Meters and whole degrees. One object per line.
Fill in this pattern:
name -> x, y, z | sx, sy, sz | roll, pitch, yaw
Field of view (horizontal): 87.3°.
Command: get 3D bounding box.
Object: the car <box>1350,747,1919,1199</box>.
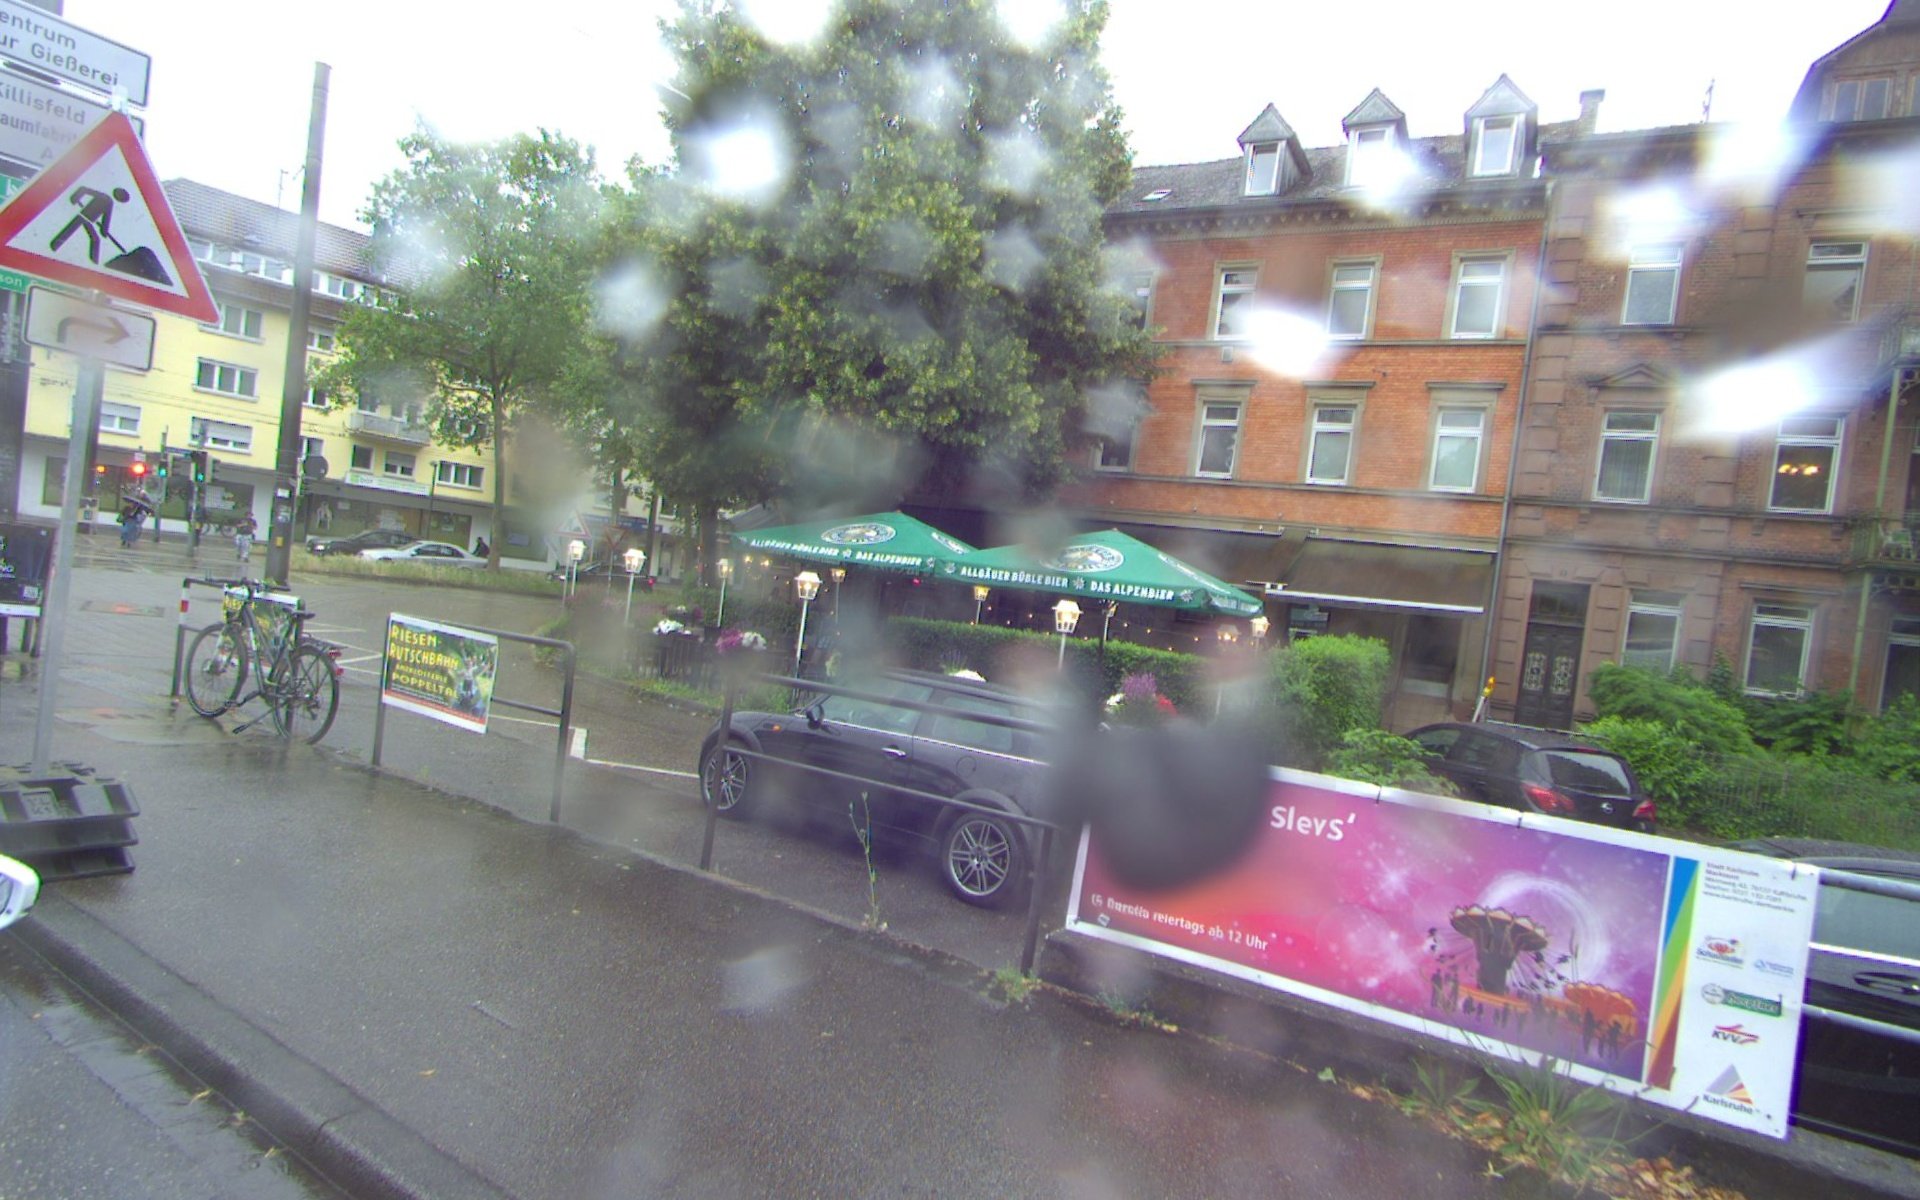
car -> 4.203, 1.792, 4.955 | 3.907, 1.416, 1.706 | 7, -1, 32

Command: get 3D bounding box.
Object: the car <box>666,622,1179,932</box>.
car -> -0.348, 1.216, 7.797 | 3.468, 1.457, 1.710 | 8, -3, 34

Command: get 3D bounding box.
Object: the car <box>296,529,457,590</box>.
car -> -22.438, -1.520, 38.821 | 1.975, 1.661, 4.928 | 3, -4, 43

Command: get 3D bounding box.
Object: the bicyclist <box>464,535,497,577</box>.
bicyclist -> -19.980, -1.835, 41.908 | 0.699, 1.634, 0.815 | 7, 0, 33

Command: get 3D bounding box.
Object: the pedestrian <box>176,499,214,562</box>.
pedestrian -> -26.640, -2.407, 35.034 | 0.790, 2.038, 0.853 | 7, 0, -33

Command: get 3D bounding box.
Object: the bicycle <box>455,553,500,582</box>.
bicycle -> -20.066, -1.339, 41.850 | 0.415, 1.013, 1.640 | 7, -1, 32

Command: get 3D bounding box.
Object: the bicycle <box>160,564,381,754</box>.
bicycle -> -5.174, 0.404, 7.494 | 1.984, 1.119, 0.515 | 7, -3, 34

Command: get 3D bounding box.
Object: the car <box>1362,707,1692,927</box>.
car -> 6.603, 2.426, 12.328 | 1.962, 1.733, 4.004 | 7, -1, 7

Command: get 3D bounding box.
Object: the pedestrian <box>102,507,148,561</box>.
pedestrian -> -26.205, -2.065, 31.569 | 0.612, 1.552, 0.816 | 7, 0, -6

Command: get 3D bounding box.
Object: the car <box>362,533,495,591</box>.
car -> -19.670, -1.396, 37.309 | 3.926, 1.508, 1.784 | 8, 0, -43

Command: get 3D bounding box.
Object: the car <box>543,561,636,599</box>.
car -> -15.515, -0.820, 42.271 | 1.227, 1.095, 3.531 | 7, -2, 34

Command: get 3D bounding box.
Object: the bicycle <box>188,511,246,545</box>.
bicycle -> -35.595, -3.435, 48.195 | 2.096, 1.277, 0.525 | 8, 0, -44

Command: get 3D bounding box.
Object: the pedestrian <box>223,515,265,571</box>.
pedestrian -> -23.479, -1.867, 33.007 | 0.898, 1.689, 1.011 | 7, -1, -33
